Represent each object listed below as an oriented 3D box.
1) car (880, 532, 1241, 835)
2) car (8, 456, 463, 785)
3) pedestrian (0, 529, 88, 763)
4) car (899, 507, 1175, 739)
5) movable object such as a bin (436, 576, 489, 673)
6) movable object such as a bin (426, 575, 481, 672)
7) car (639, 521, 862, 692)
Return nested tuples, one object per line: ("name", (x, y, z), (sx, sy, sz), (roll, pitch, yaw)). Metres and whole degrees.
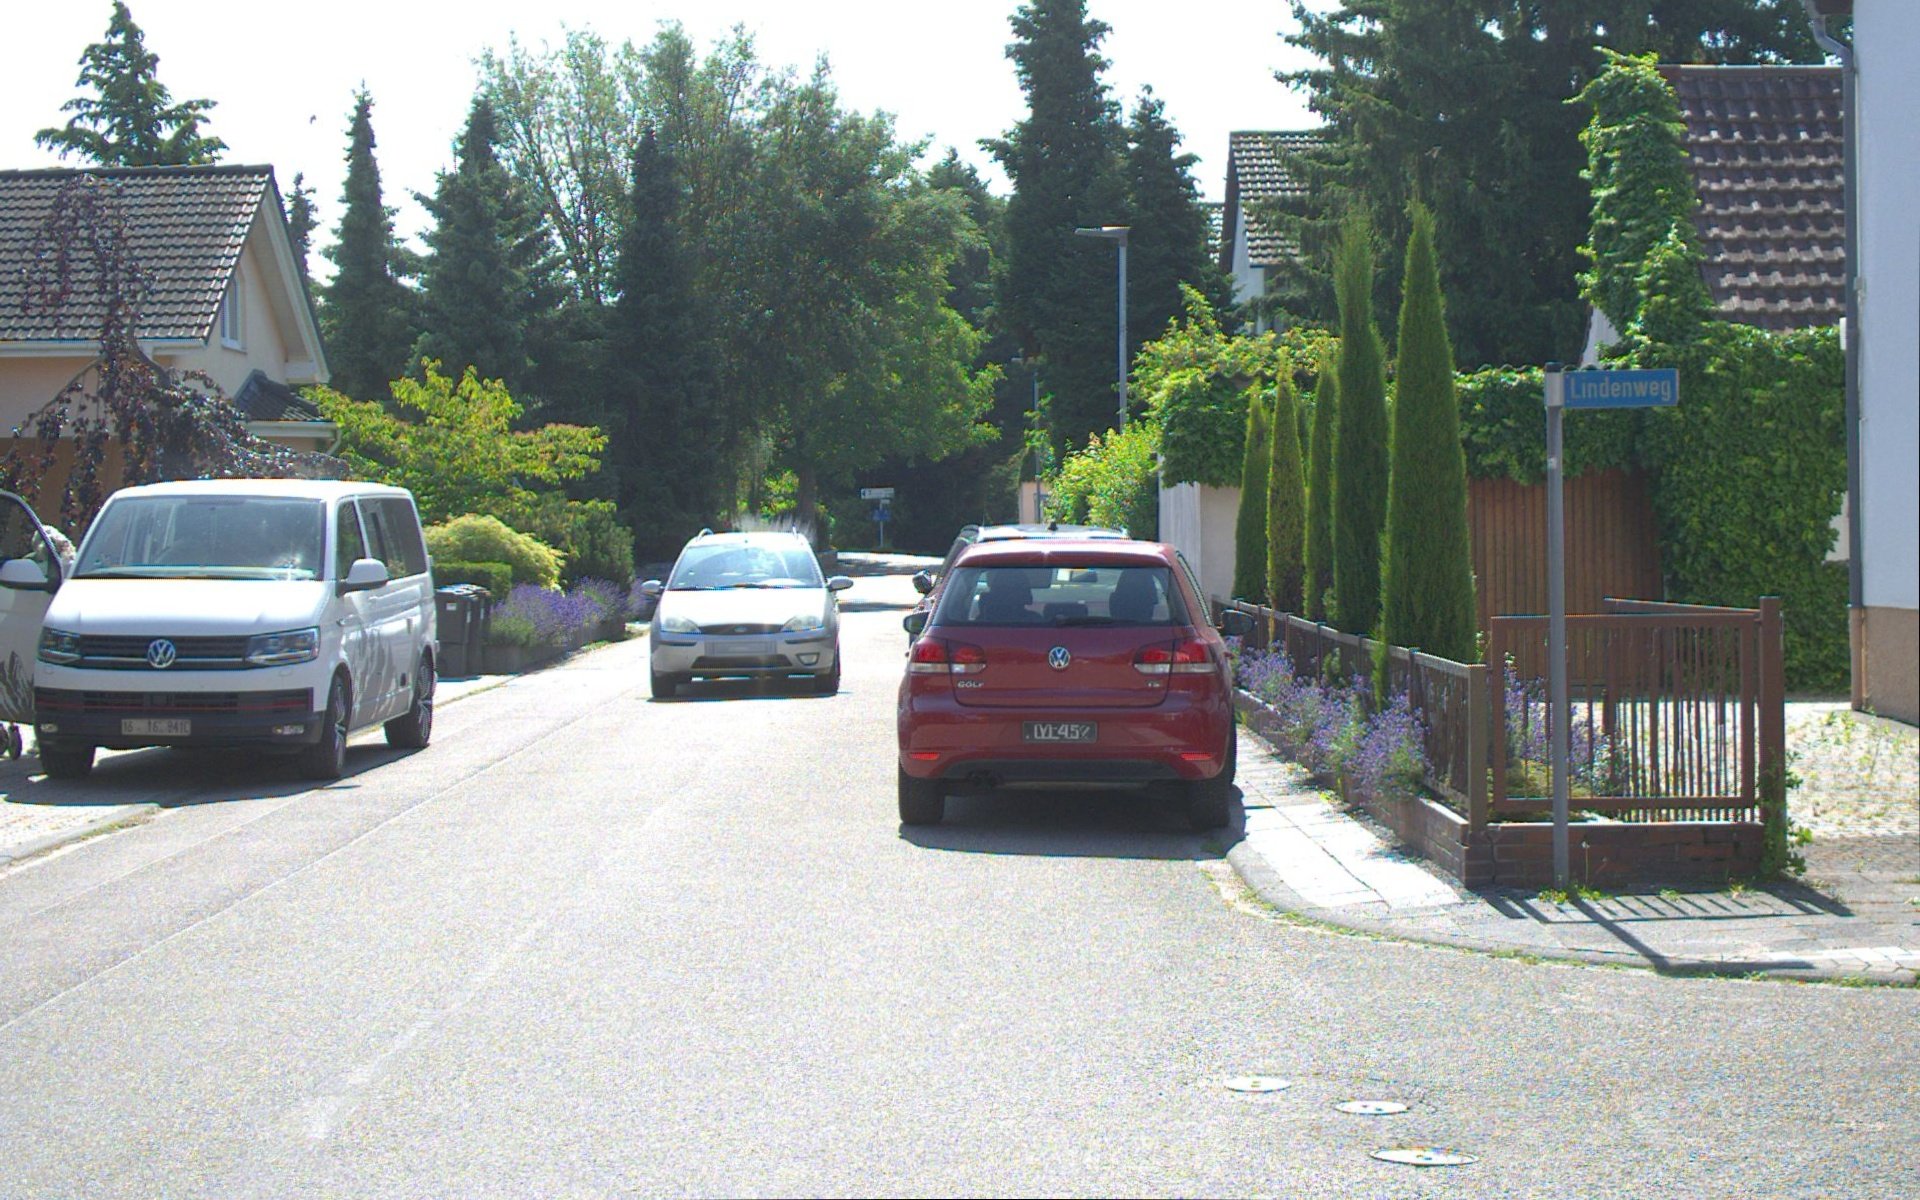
("car", (0.619, 0.376, 19.166), (1.775, 1.474, 4.000), (1, 1, 3))
("car", (-4.797, 0.078, 23.535), (1.929, 2.007, 4.896), (0, 1, 2))
("pedestrian", (-6.374, 0.295, 23.160), (0.718, 1.533, 0.641), (1, 2, 34))
("car", (0.500, 0.123, 25.942), (1.822, 1.610, 4.001), (0, 1, -2))
("movable object such as a bin", (-5.375, 0.259, 37.155), (0.494, 1.021, 0.447), (-1, 1, 0))
("movable object such as a bin", (-5.404, 0.248, 36.693), (0.494, 1.021, 0.447), (-1, 1, 0))
("car", (-1.924, 0.014, 32.693), (1.752, 1.482, 4.376), (-1, 1, 1))
